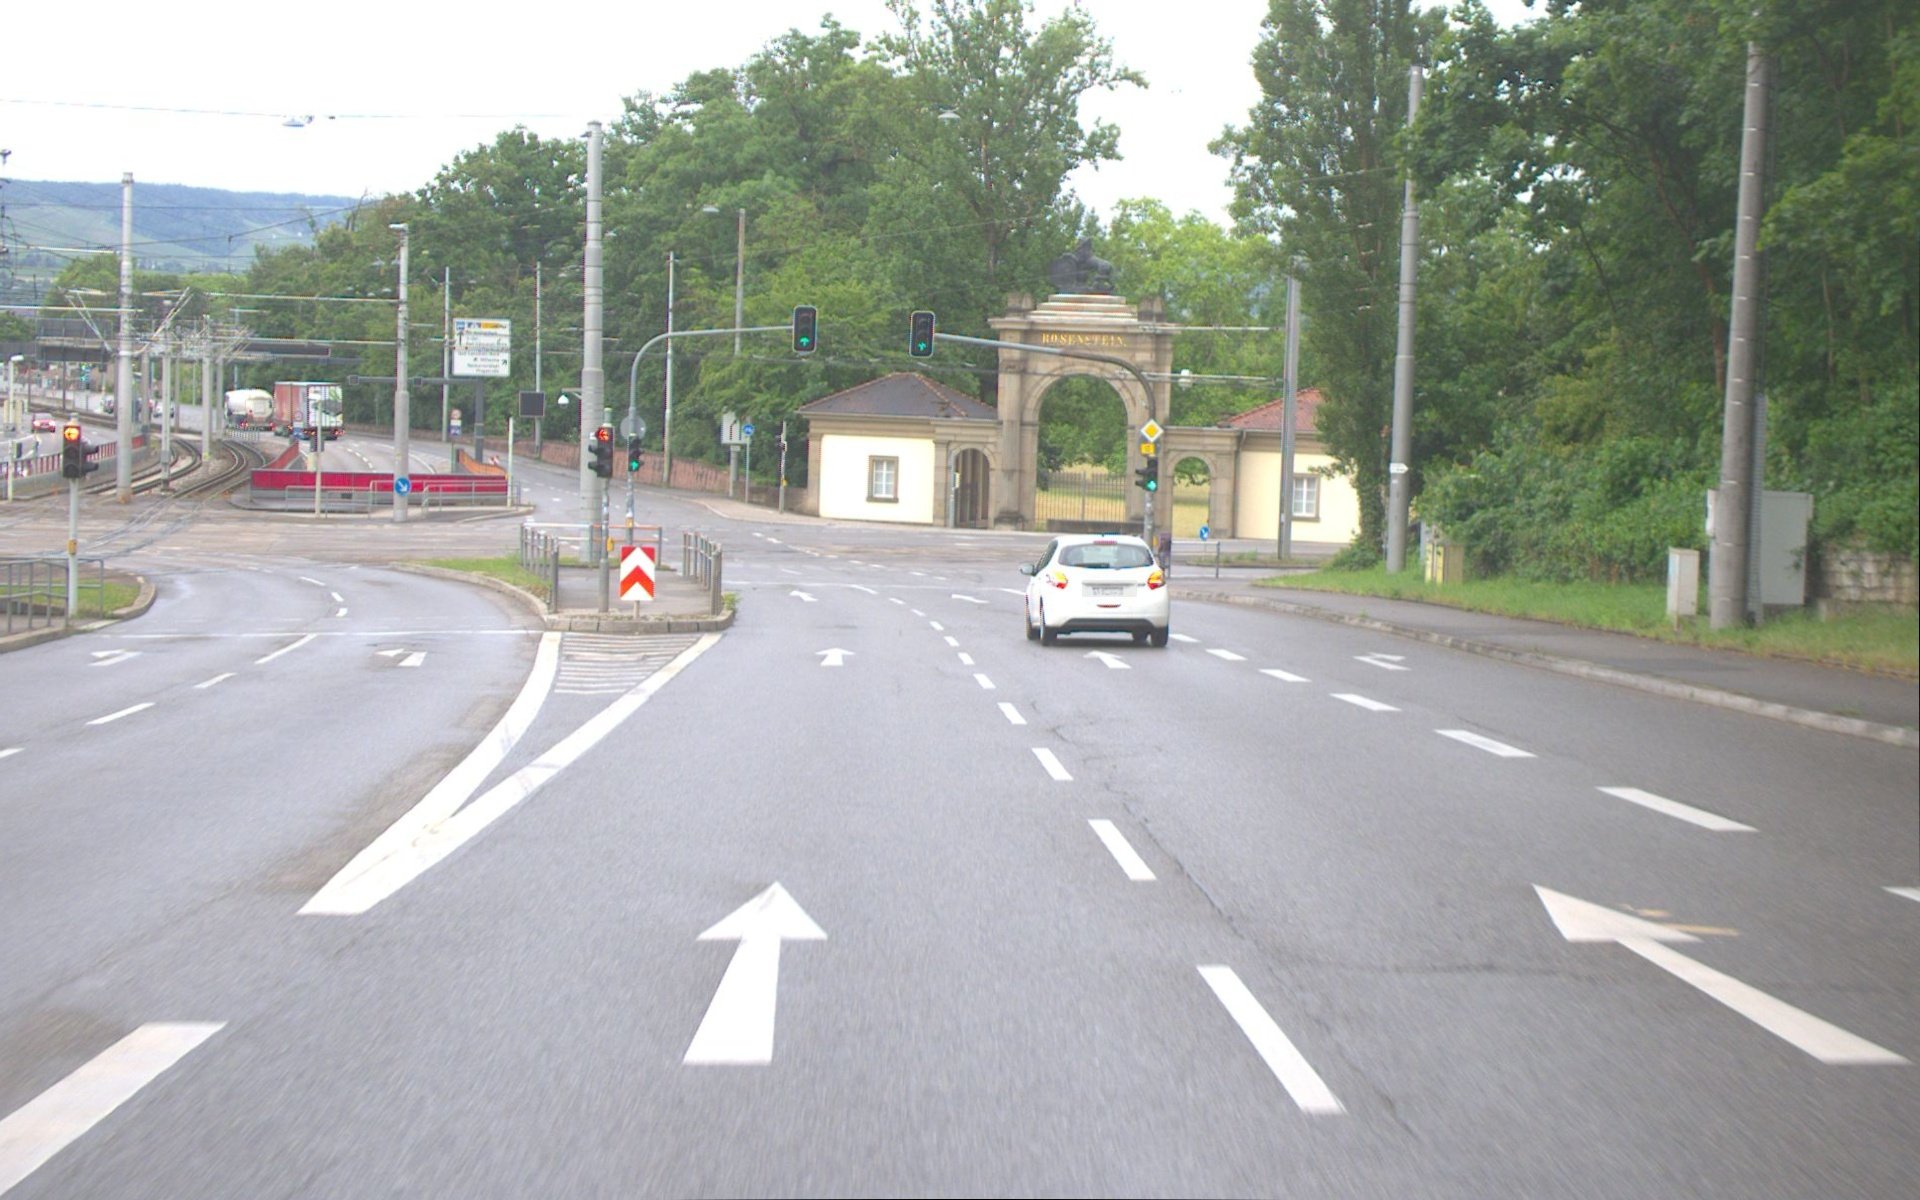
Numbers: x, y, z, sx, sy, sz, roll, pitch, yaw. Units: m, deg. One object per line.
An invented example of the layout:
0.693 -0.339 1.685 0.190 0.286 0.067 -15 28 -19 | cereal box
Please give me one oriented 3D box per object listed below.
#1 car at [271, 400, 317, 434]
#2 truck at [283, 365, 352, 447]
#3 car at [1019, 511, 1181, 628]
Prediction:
-37.547 -10.309 193.723 1.993 1.866 4.002 -1 3 -18 | car
-46.528 -13.983 248.721 3.464 5.382 12.056 -2 1 -17 | truck
1.844 -0.409 46.349 1.955 1.483 4.000 1 1 -1 | car
